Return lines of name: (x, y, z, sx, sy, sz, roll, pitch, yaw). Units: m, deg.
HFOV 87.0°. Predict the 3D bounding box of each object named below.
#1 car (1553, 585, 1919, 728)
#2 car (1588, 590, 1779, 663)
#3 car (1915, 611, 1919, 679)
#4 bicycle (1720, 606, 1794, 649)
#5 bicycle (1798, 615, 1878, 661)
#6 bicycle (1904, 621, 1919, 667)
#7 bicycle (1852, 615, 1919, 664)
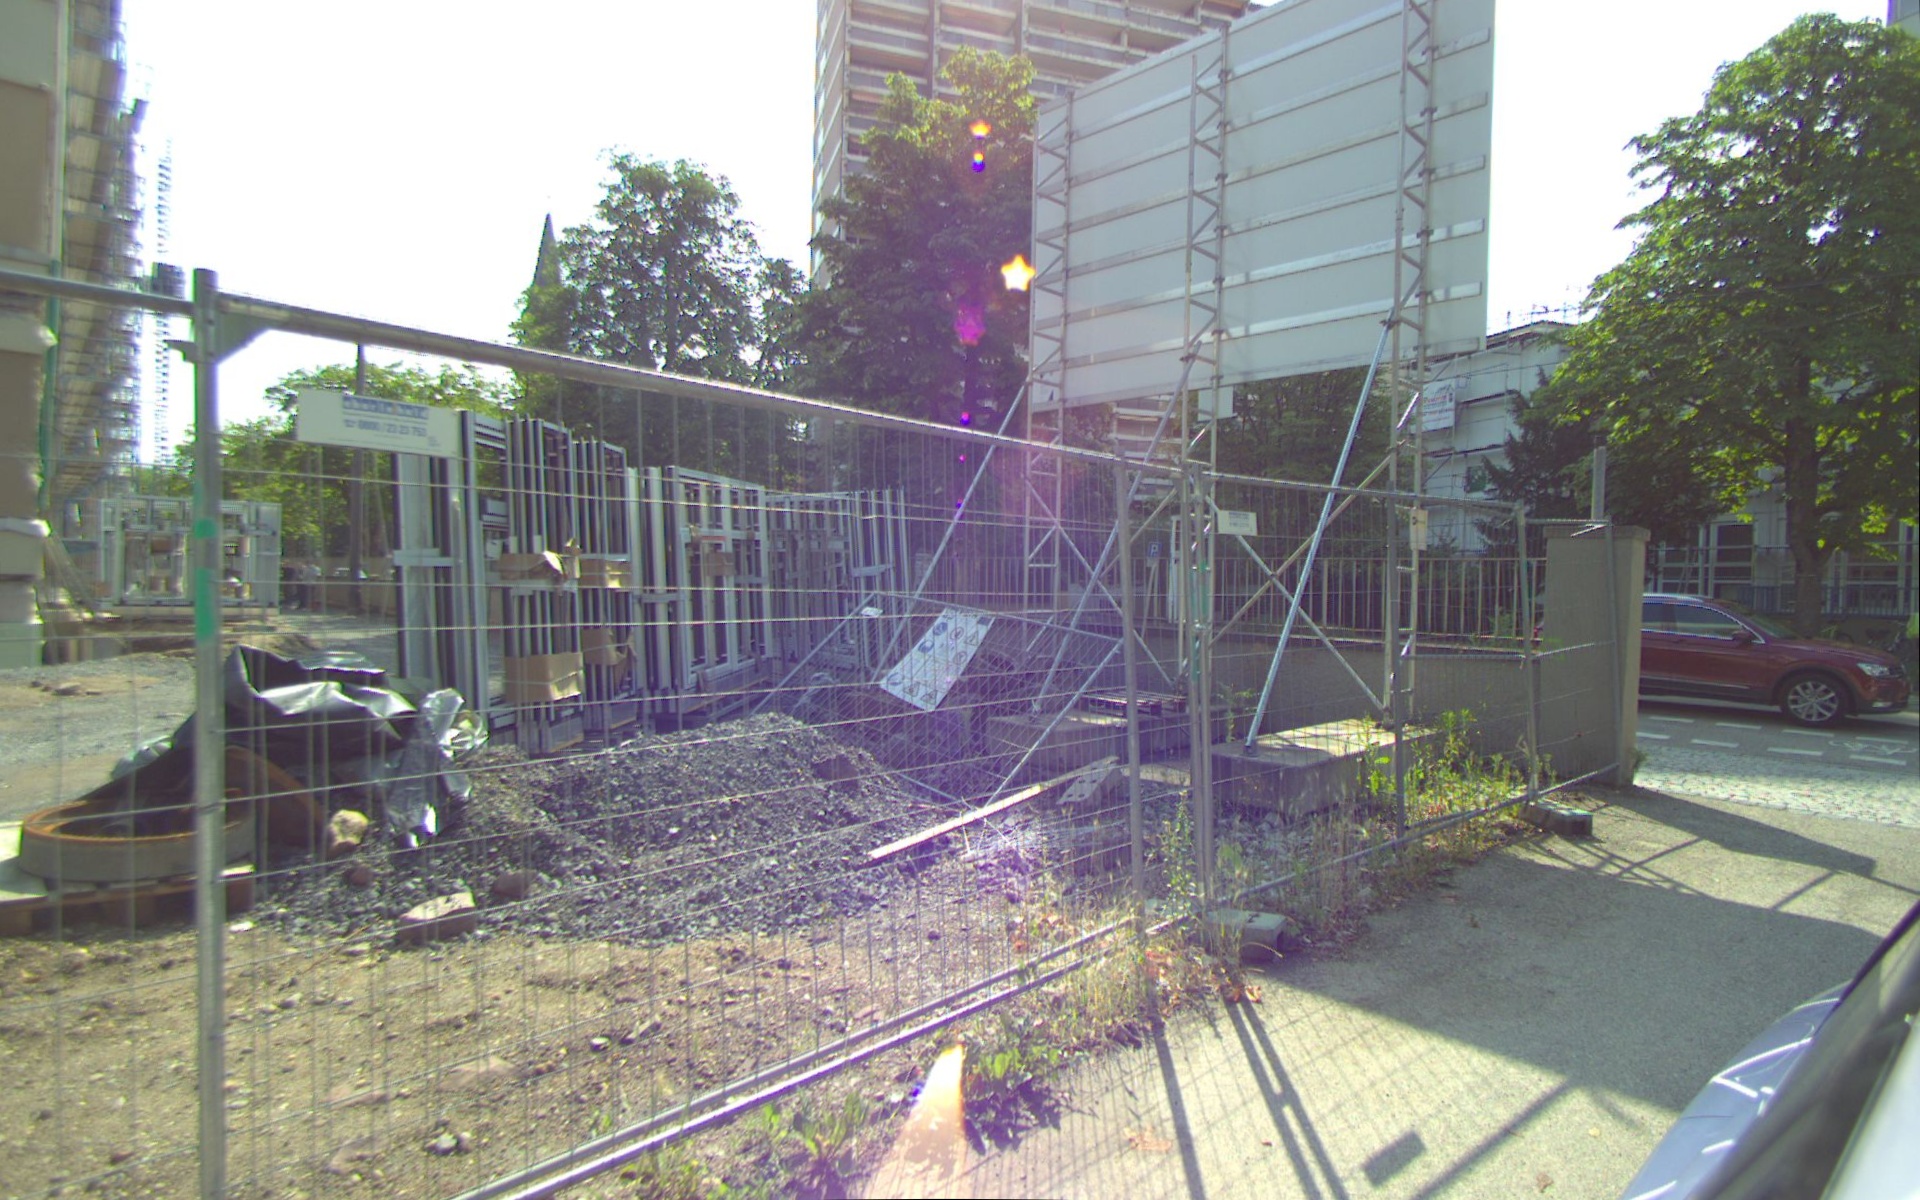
car: (10.803, 0.658, 14.235, 1.652, 1.631, 3.961, -1, 3, -44)
car: (16.976, 0.593, 24.013, 1.728, 1.481, 3.995, -4, -1, 4)
car: (21.469, 0.977, 19.574, 1.707, 1.444, 4.461, 2, -1, 0)
bicycle: (23.238, 0.789, 29.523, 2.013, 1.101, 0.498, -4, -1, -14)
bicycle: (23.991, 1.019, 27.654, 2.013, 1.101, 0.498, -4, -1, -14)
bicycle: (24.659, 1.039, 25.282, 2.013, 1.101, 0.498, -4, -1, -14)
bicycle: (24.073, 0.999, 26.092, 2.013, 1.101, 0.498, -4, -1, -14)
